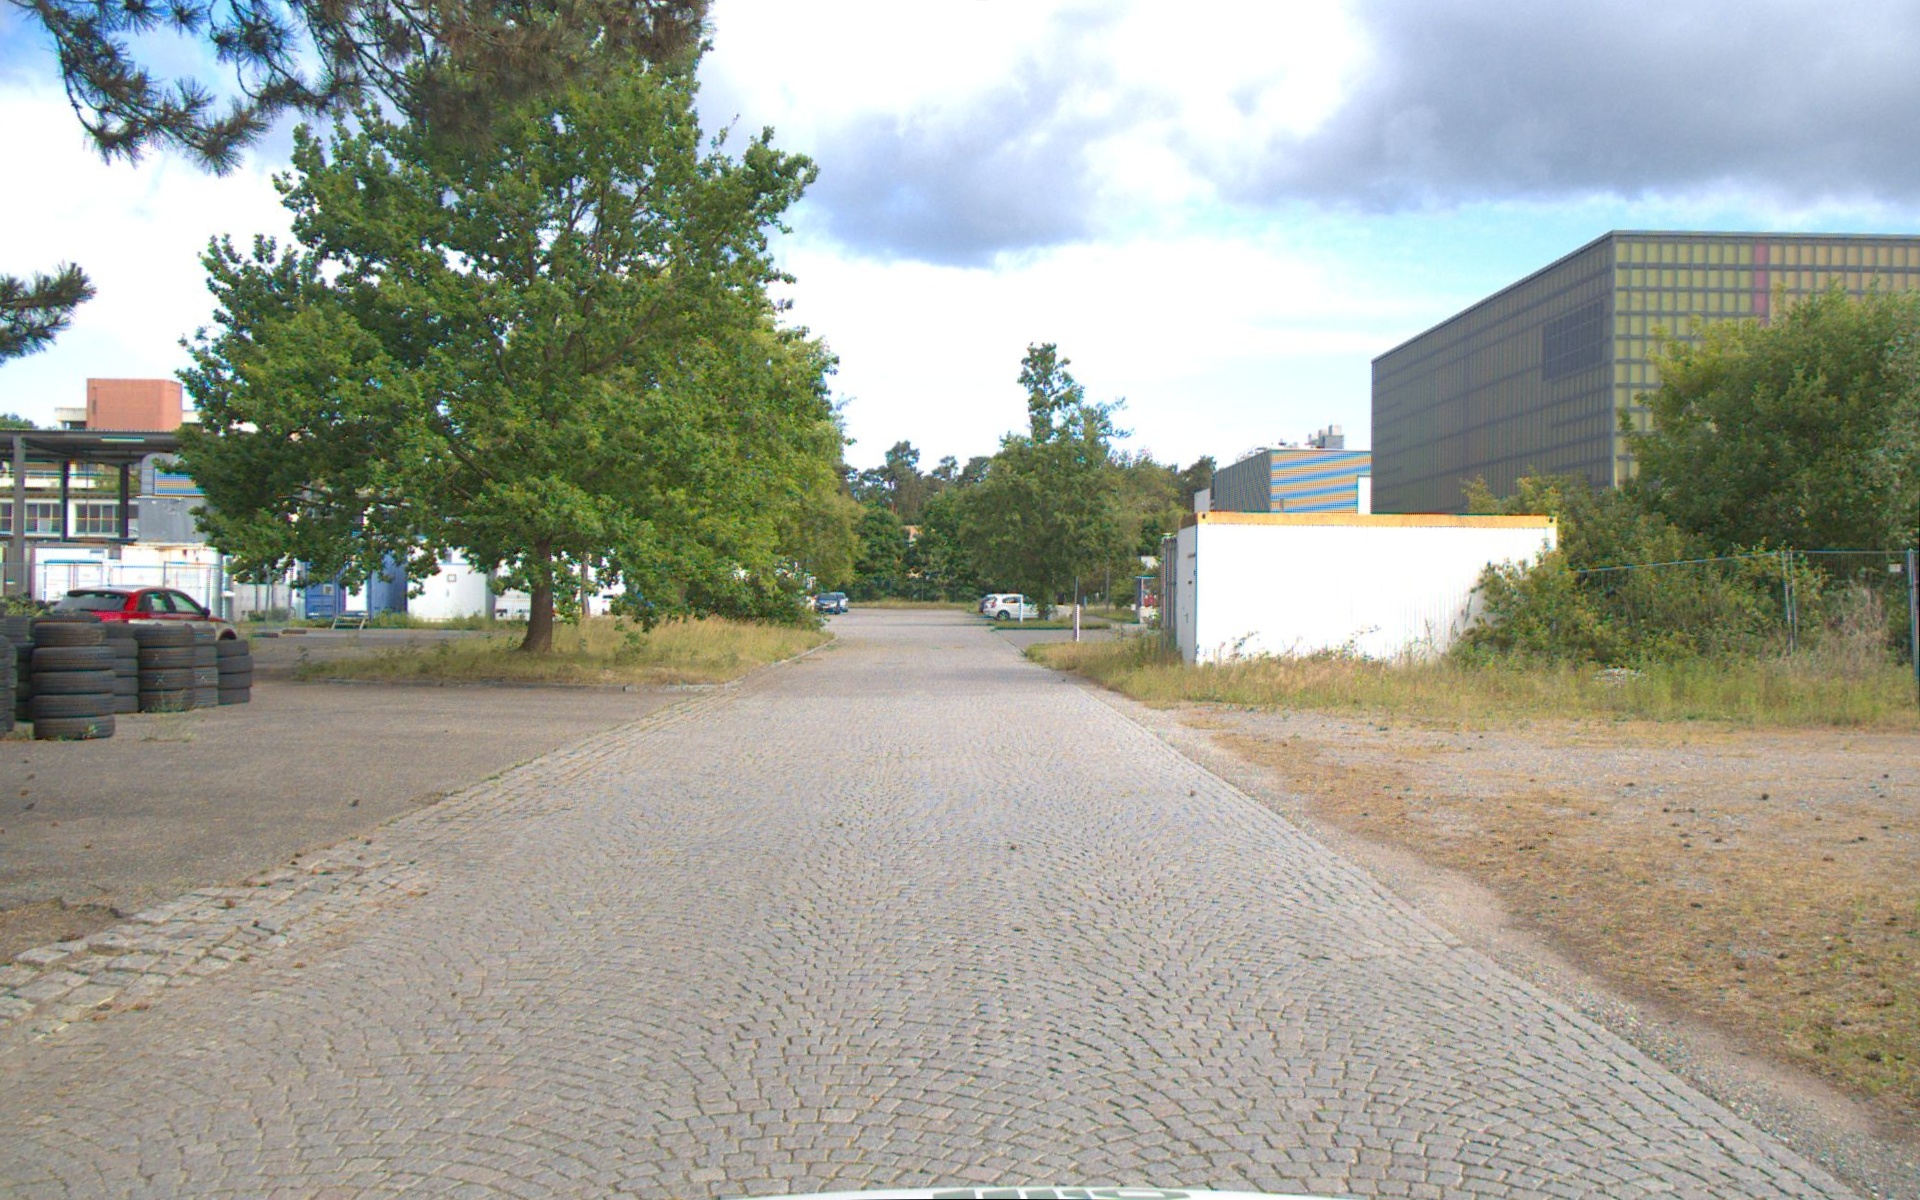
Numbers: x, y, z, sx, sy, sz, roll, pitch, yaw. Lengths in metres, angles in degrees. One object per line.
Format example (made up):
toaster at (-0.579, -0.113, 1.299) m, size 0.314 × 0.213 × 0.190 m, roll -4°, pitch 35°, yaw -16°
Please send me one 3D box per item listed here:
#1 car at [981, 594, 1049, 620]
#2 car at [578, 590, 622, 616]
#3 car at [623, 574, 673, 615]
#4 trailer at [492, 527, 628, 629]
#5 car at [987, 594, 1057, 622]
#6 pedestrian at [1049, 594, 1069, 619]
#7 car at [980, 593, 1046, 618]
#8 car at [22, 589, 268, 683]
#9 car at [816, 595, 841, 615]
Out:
car at (3.170, 0.395, 96.107) m, size 3.906 × 1.481 × 1.697 m, roll 0°, pitch 0°, yaw -1°
car at (-22.689, 0.164, 104.425) m, size 1.862 × 1.602 × 4.000 m, roll 0°, pitch 0°, yaw 0°
car at (-19.907, -0.351, 105.769) m, size 1.952 × 2.567 × 5.619 m, roll 0°, pitch 0°, yaw 2°
trailer at (-15.797, -0.824, 66.219) m, size 2.602 × 3.770 × 10.723 m, roll 0°, pitch 0°, yaw 1°
car at (3.502, 0.453, 93.945) m, size 3.906 × 1.481 × 1.999 m, roll 1°, pitch -1°, yaw -1°
pedestrian at (6.369, 0.389, 106.826) m, size 0.929 × 1.596 × 0.962 m, roll 0°, pitch 0°, yaw -27°
car at (3.165, 0.343, 99.147) m, size 3.906 × 1.481 × 1.769 m, roll 0°, pitch 0°, yaw -1°
car at (-13.624, 0.556, 27.954) m, size 1.785 × 1.457 × 4.221 m, roll 0°, pitch 0°, yaw 5°
car at (-9.357, 0.367, 117.617) m, size 1.714 × 1.388 × 3.997 m, roll 0°, pitch 0°, yaw -3°
